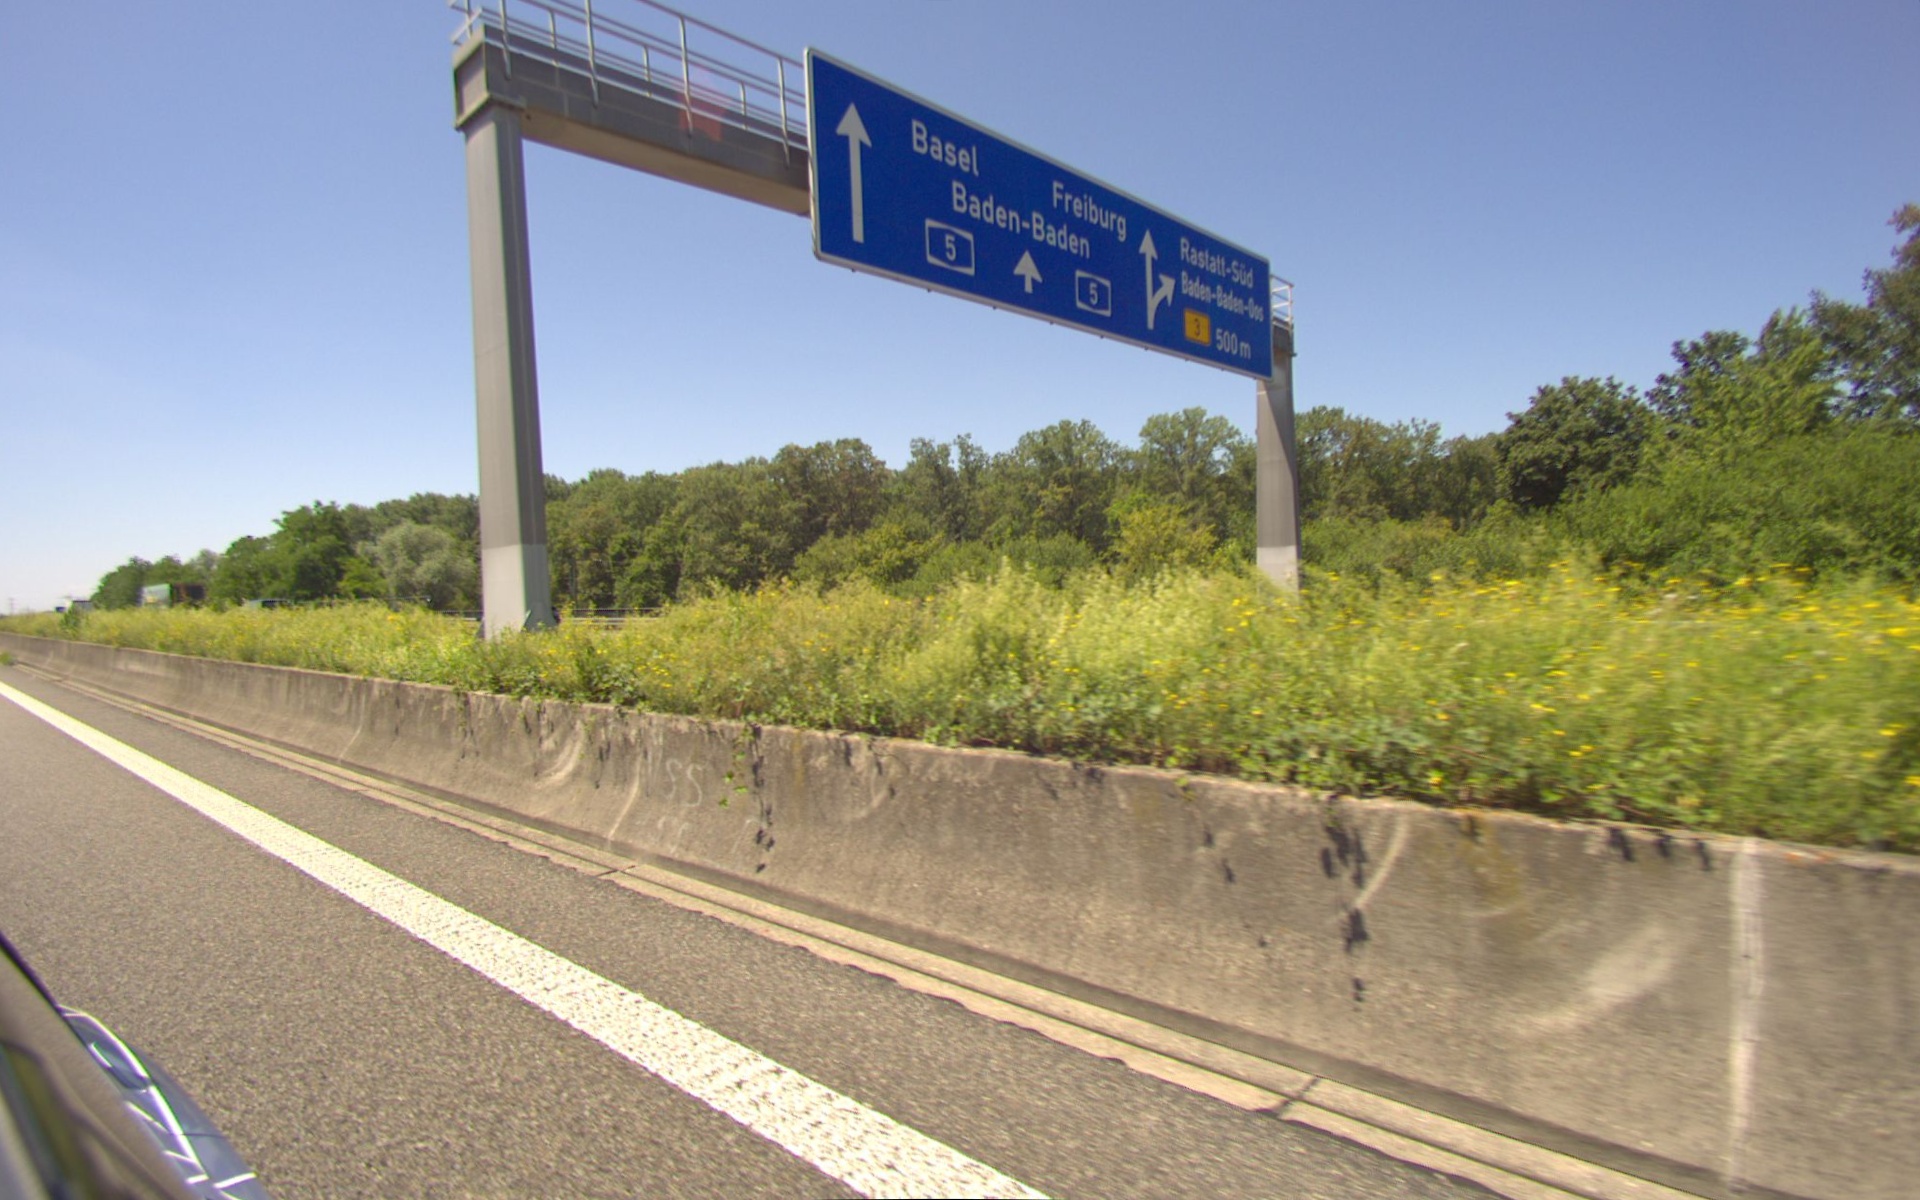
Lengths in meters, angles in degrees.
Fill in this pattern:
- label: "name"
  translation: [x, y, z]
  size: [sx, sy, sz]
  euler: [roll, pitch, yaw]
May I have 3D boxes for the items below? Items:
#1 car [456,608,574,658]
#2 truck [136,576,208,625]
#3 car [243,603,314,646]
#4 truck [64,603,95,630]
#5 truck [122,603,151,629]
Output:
- label: "car"
  translation: [-13.264, 0.944, 30.073]
  size: [3.997, 1.366, 1.650]
  euler: [-1, 0, 41]
- label: "truck"
  translation: [-72.228, 0.149, 92.620]
  size: [14.499, 4.262, 3.142]
  euler: [-1, -1, 44]
- label: "car"
  translation: [-34.066, 1.199, 50.541]
  size: [3.998, 2.029, 1.973]
  euler: [-1, -1, 41]
- label: "truck"
  translation: [-131.751, 2.485, 151.423]
  size: [9.035, 3.893, 2.626]
  euler: [-1, -1, 44]
- label: "truck"
  translation: [-125.803, 2.413, 154.560]
  size: [9.035, 3.893, 2.333]
  euler: [-1, -1, 44]
